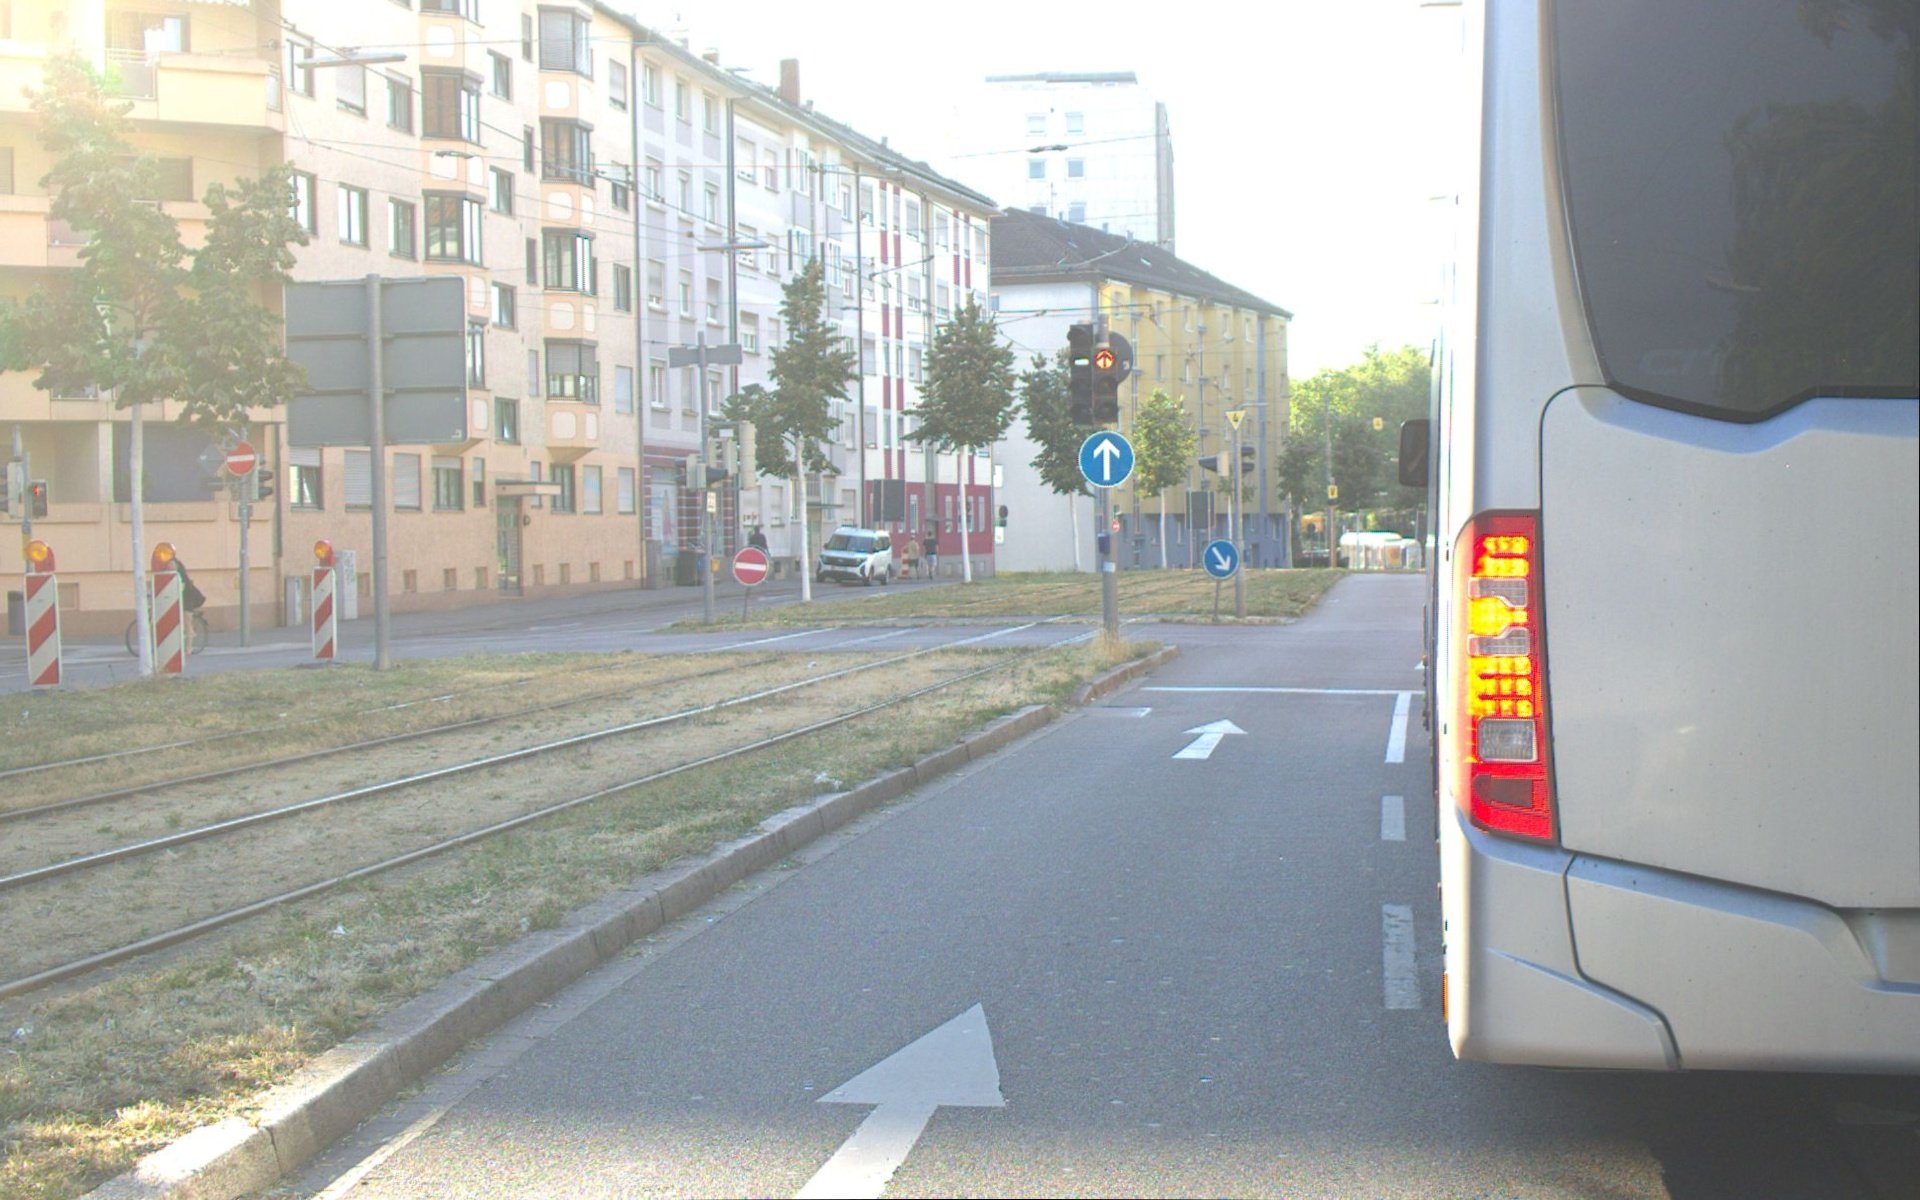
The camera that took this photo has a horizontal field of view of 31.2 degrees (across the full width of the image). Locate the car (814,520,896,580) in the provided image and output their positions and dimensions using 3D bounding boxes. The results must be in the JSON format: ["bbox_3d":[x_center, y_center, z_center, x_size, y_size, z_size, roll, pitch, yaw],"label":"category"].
[{"bbox_3d":[-3.412,-1.658,112.609,1.812,1.791,4.244,-3,1,9],"label":"car"}]

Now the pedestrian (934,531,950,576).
[{"bbox_3d":[-0.678,-1.725,127.151,0.496,1.652,0.408,-1,1,8],"label":"pedestrian"}]

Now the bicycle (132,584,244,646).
[{"bbox_3d":[-12.771,0.243,56.935,0.529,0.980,1.879,-1,1,38],"label":"bicycle"}]

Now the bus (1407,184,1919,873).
[{"bbox_3d":[4.002,-0.417,19.848,2.739,3.045,9.129,1,1,8],"label":"bus"}]

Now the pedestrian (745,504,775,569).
[{"bbox_3d":[-6.224,-1.965,106.853,0.786,2.007,0.890,-1,1,5],"label":"pedestrian"}]

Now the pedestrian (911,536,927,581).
[{"bbox_3d":[-1.512,-1.532,126.896,0.496,1.652,0.408,-1,1,8],"label":"pedestrian"}]

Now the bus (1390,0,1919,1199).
[{"bbox_3d":[2.813,-0.235,10.998,2.739,3.045,8.851,1,1,8],"label":"bus"}]

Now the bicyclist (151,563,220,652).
[{"bbox_3d":[-12.800,0.115,56.818,0.529,1.442,0.963,-1,1,38],"label":"bicyclist"}]
